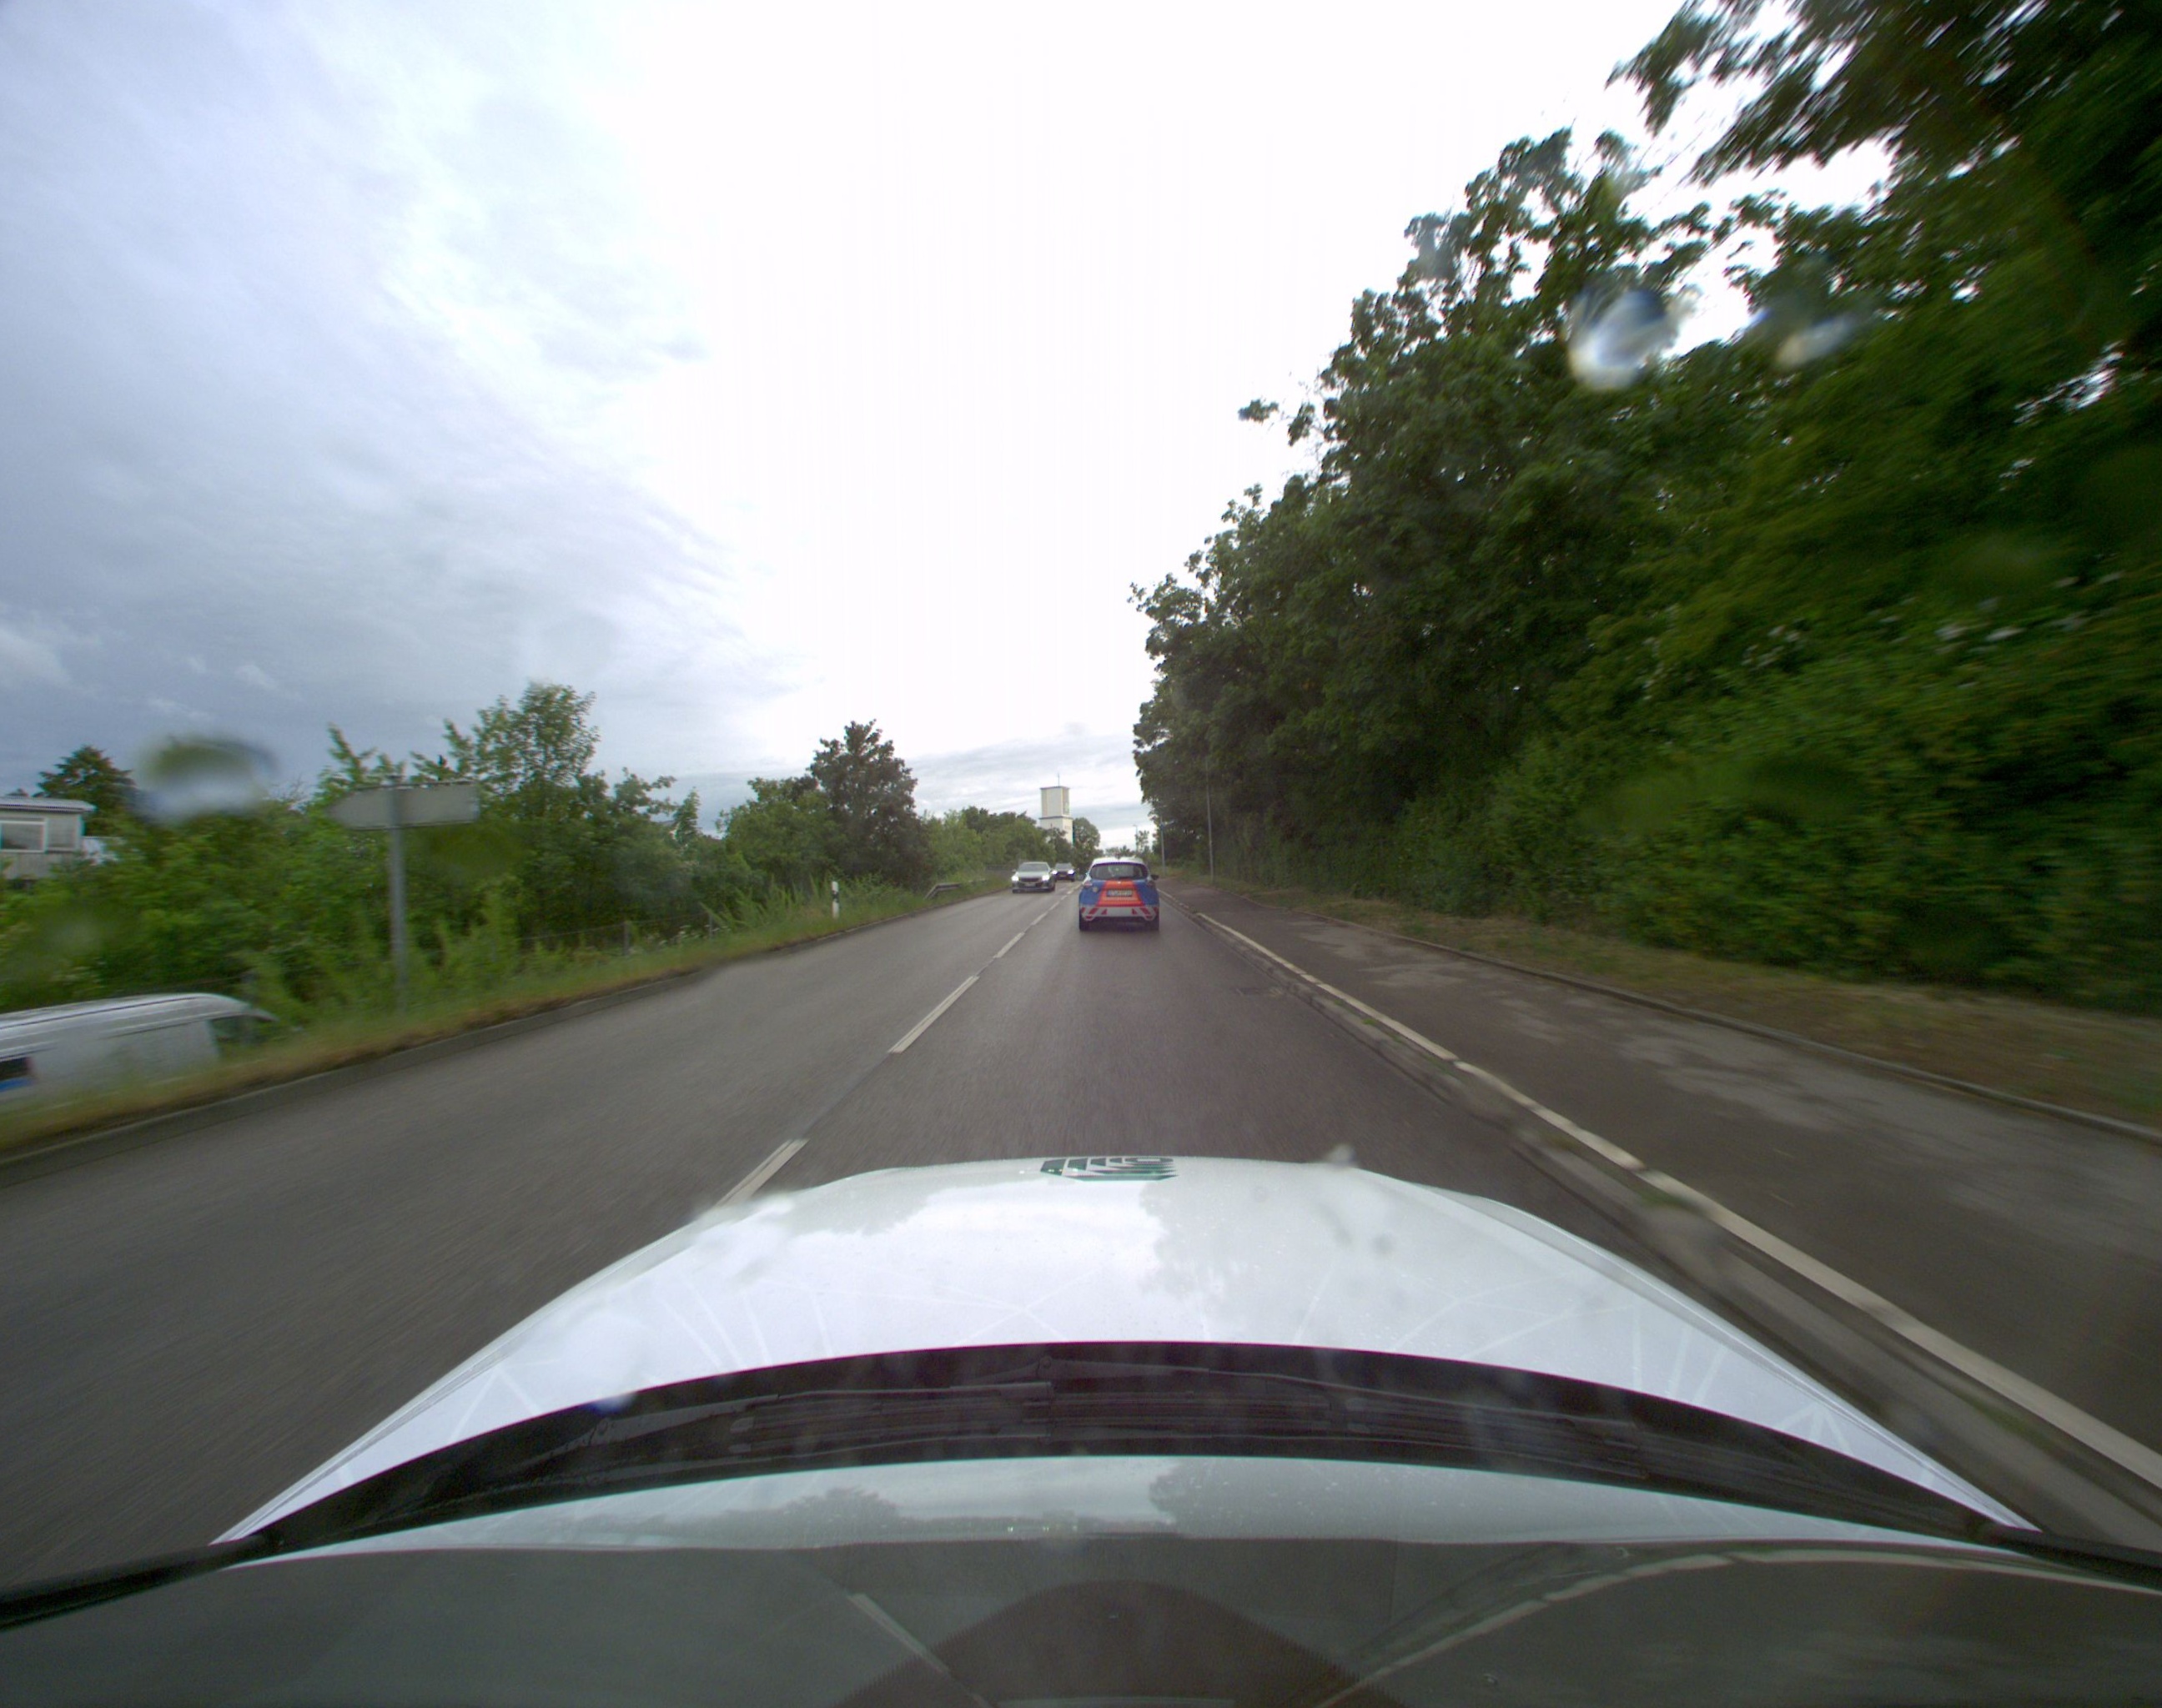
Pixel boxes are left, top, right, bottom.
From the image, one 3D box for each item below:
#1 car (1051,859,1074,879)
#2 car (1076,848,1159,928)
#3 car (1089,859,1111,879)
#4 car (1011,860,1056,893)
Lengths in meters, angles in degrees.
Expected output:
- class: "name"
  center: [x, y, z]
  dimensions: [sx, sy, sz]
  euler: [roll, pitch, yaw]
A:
- class: "car"
  center: [-1.507, 1.246, 67.784]
  dimensions: [1.724, 1.585, 4.081]
  euler: [-1, 0, 1]
- class: "car"
  center: [0.801, 0.740, 18.428]
  dimensions: [1.651, 1.593, 3.569]
  euler: [-2, -1, 1]
- class: "car"
  center: [1.613, 1.287, 70.163]
  dimensions: [1.796, 1.590, 3.563]
  euler: [-3, -1, 1]
- class: "car"
  center: [-2.343, 1.091, 41.435]
  dimensions: [1.855, 1.503, 4.729]
  euler: [-1, 0, 1]
